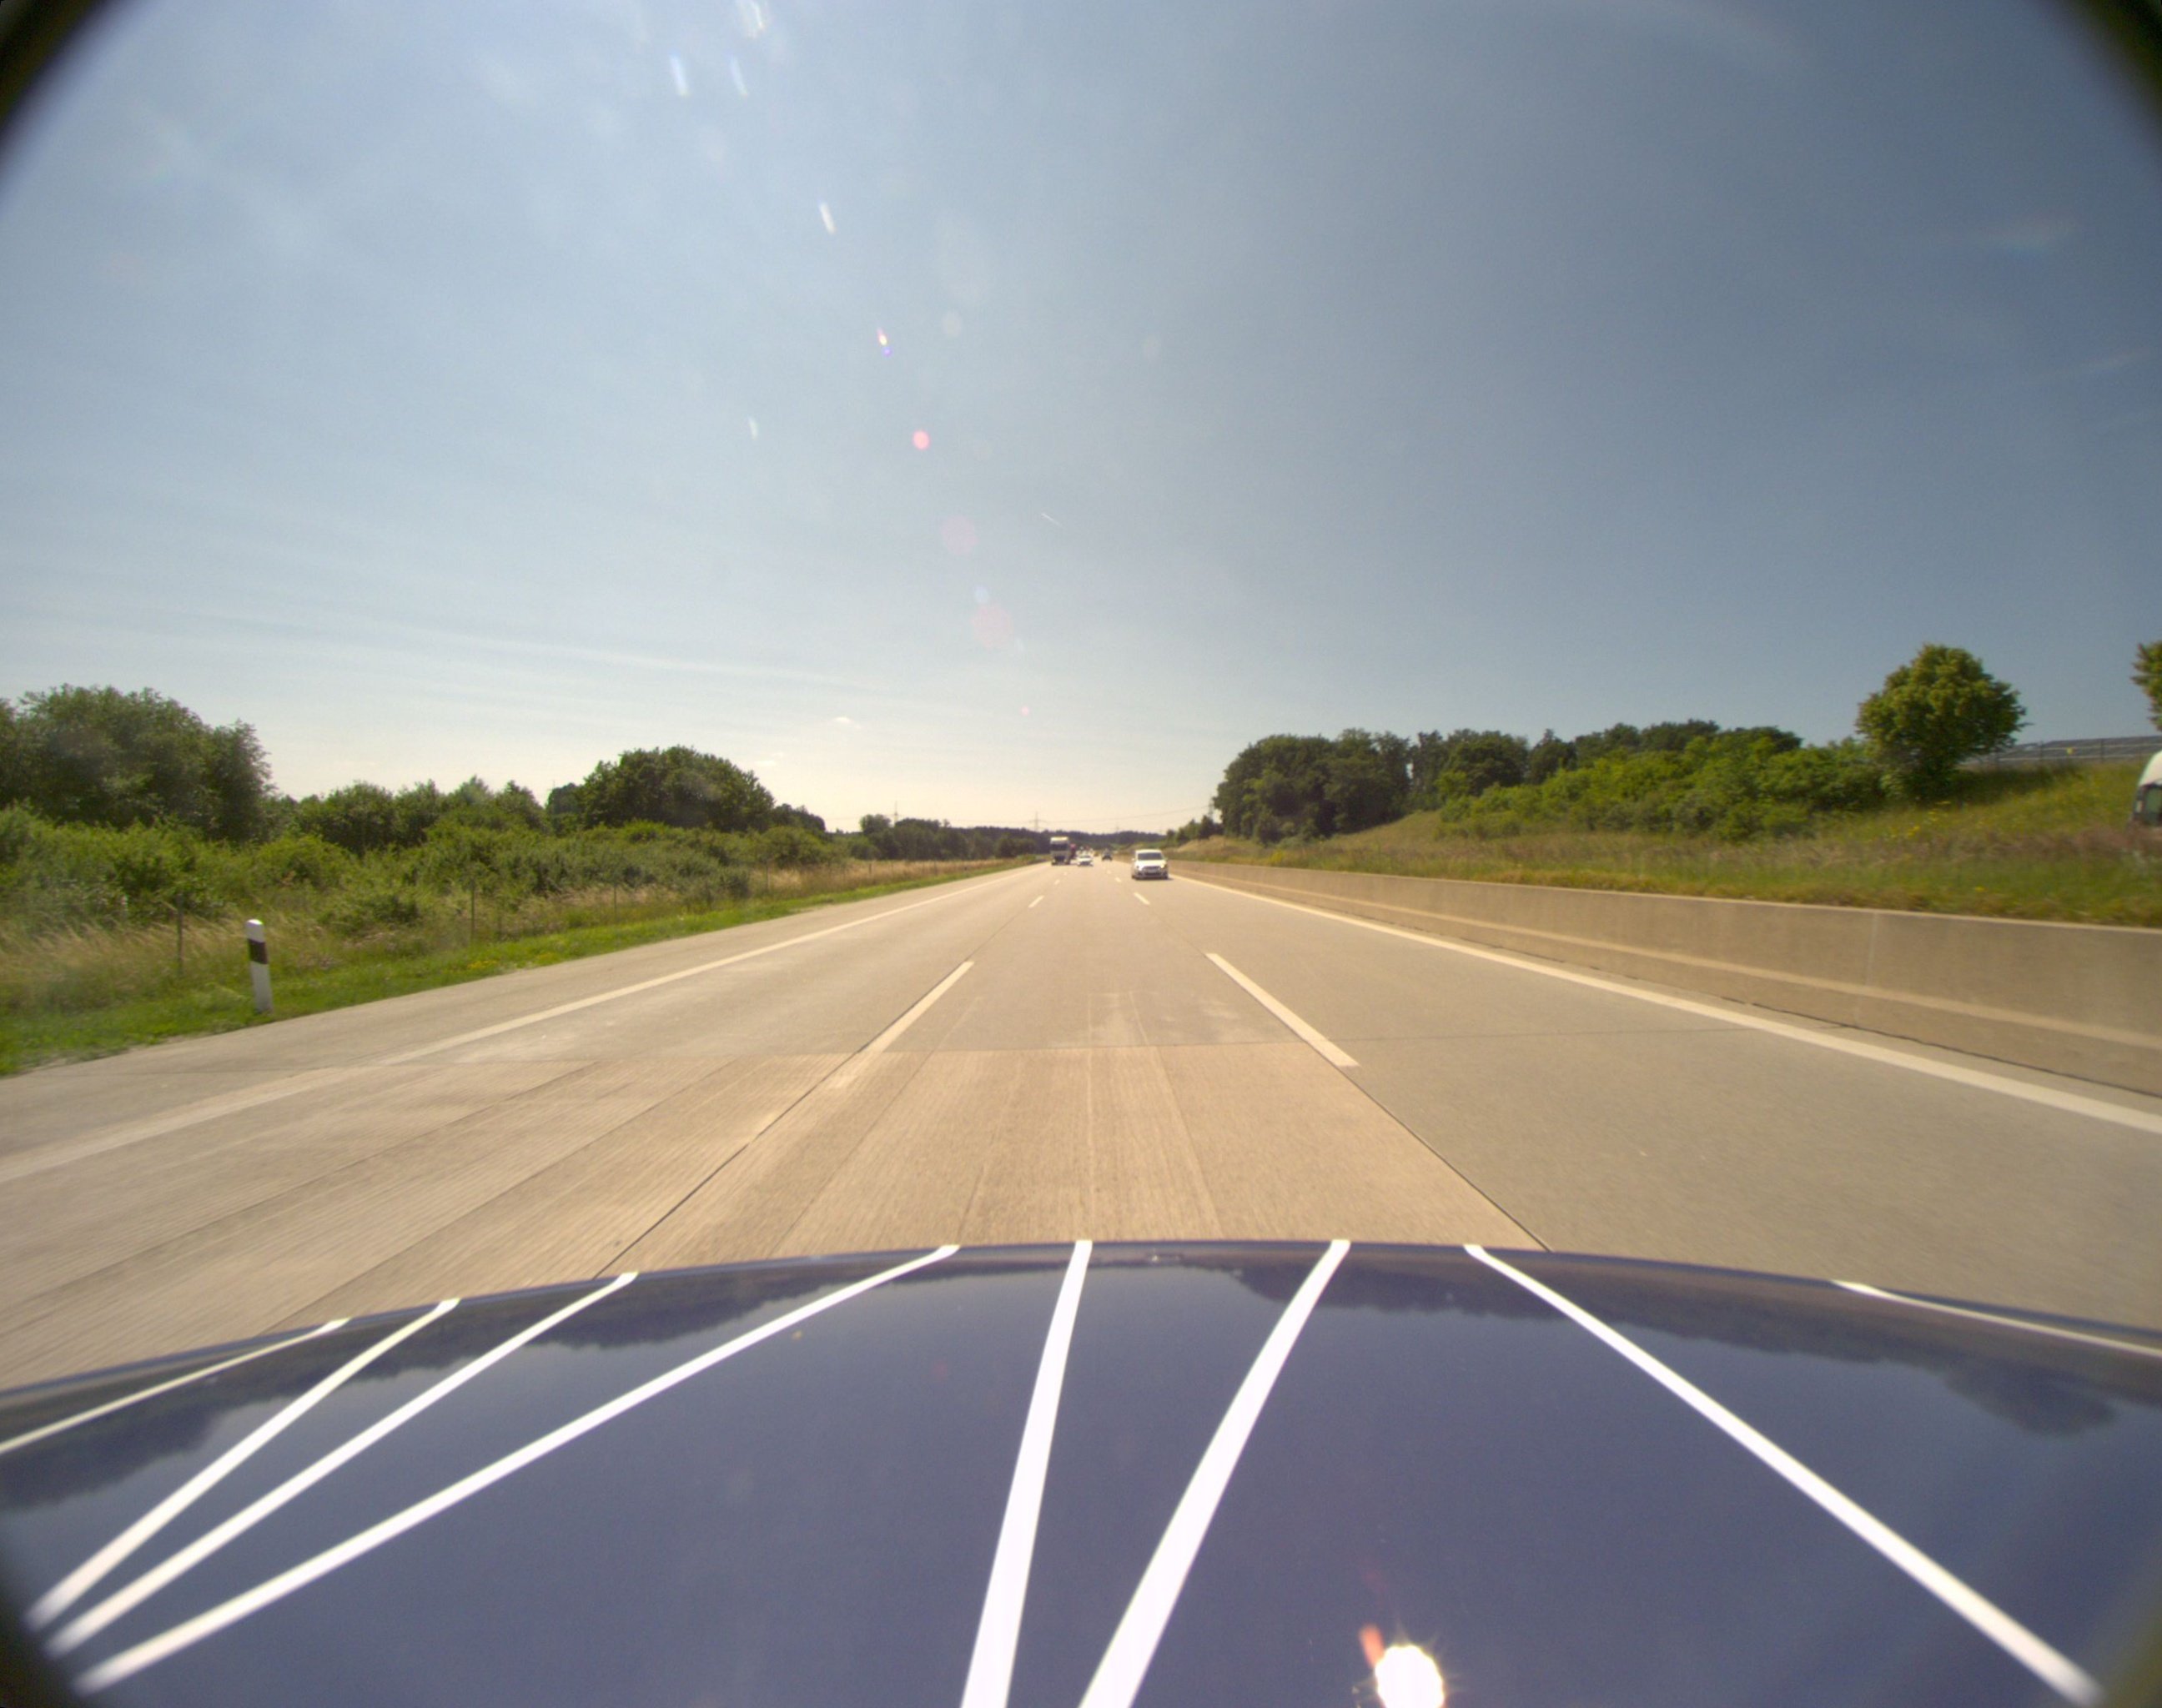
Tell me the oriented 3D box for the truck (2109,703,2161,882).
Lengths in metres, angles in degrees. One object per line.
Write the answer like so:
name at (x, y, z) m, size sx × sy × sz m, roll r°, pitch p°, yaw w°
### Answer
truck at (20.405, -1.110, 11.126) m, size 2.840 × 3.139 × 5.826 m, roll -2°, pitch 1°, yaw 1°

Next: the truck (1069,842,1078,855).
truck at (-1.893, -1.550, 204.256) m, size 2.351 × 3.474 × 5.245 m, roll -1°, pitch 1°, yaw 0°

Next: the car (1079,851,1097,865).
car at (0.879, 0.433, 94.187) m, size 2.065 × 1.472 × 5.068 m, roll -5°, pitch 0°, yaw 0°

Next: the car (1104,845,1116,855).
car at (5.658, -0.794, 148.878) m, size 1.998 × 1.836 × 6.529 m, roll -3°, pitch 1°, yaw 1°

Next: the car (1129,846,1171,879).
car at (3.932, 0.447, 44.100) m, size 1.850 × 1.698 × 6.035 m, roll -2°, pitch 1°, yaw 1°

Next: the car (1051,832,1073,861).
car at (-2.713, -1.129, 113.768) m, size 2.766 × 4.029 × 10.851 m, roll -1°, pitch 1°, yaw 1°
